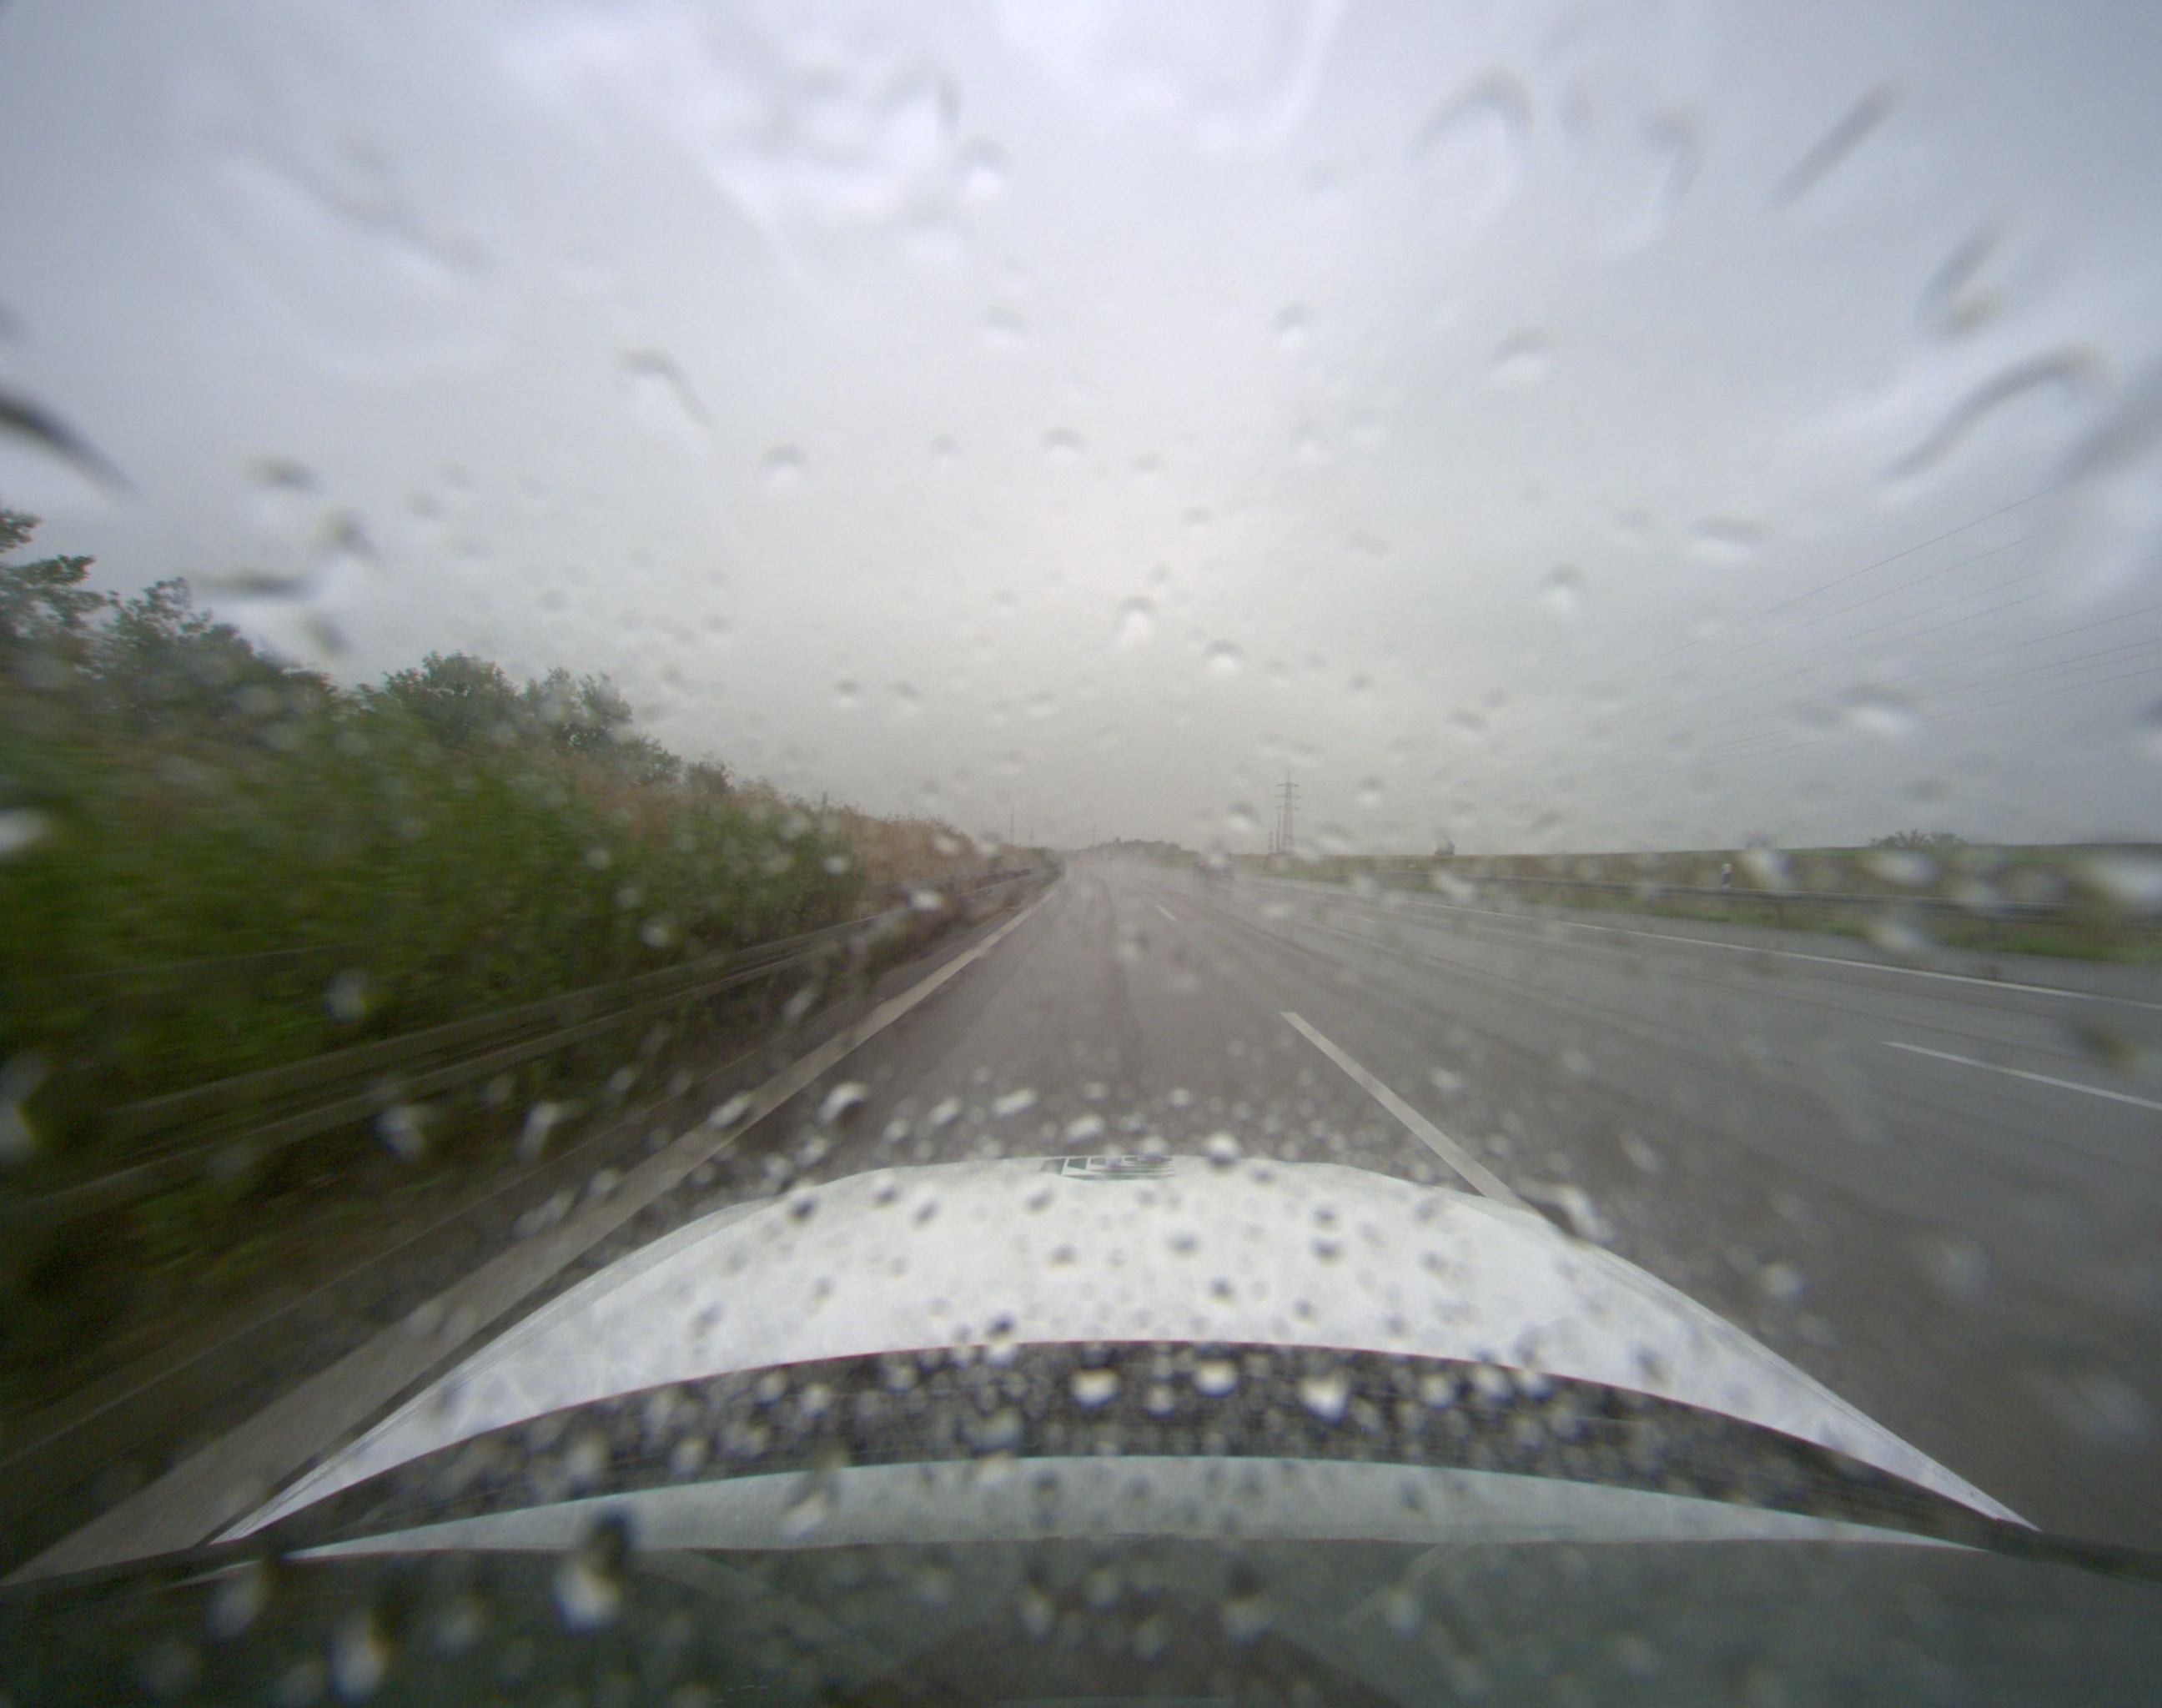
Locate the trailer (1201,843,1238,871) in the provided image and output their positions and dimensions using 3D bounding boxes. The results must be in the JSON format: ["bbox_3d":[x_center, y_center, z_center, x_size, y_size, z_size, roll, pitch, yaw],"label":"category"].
[{"bbox_3d":[9.000,0.233,53.083,1.971,1.785,3.190,-1,-1,2],"label":"trailer"}]

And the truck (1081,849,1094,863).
[{"bbox_3d":[1.768,0.648,243.706,3.226,4.311,8.823,0,-1,-4],"label":"truck"}]

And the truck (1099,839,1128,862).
[{"bbox_3d":[6.805,-0.645,173.226,4.182,4.630,16.075,0,-1,-5],"label":"truck"}]

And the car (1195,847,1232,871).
[{"bbox_3d":[9.230,0.399,57.159,1.985,1.619,4.995,-1,-1,3],"label":"car"}]
